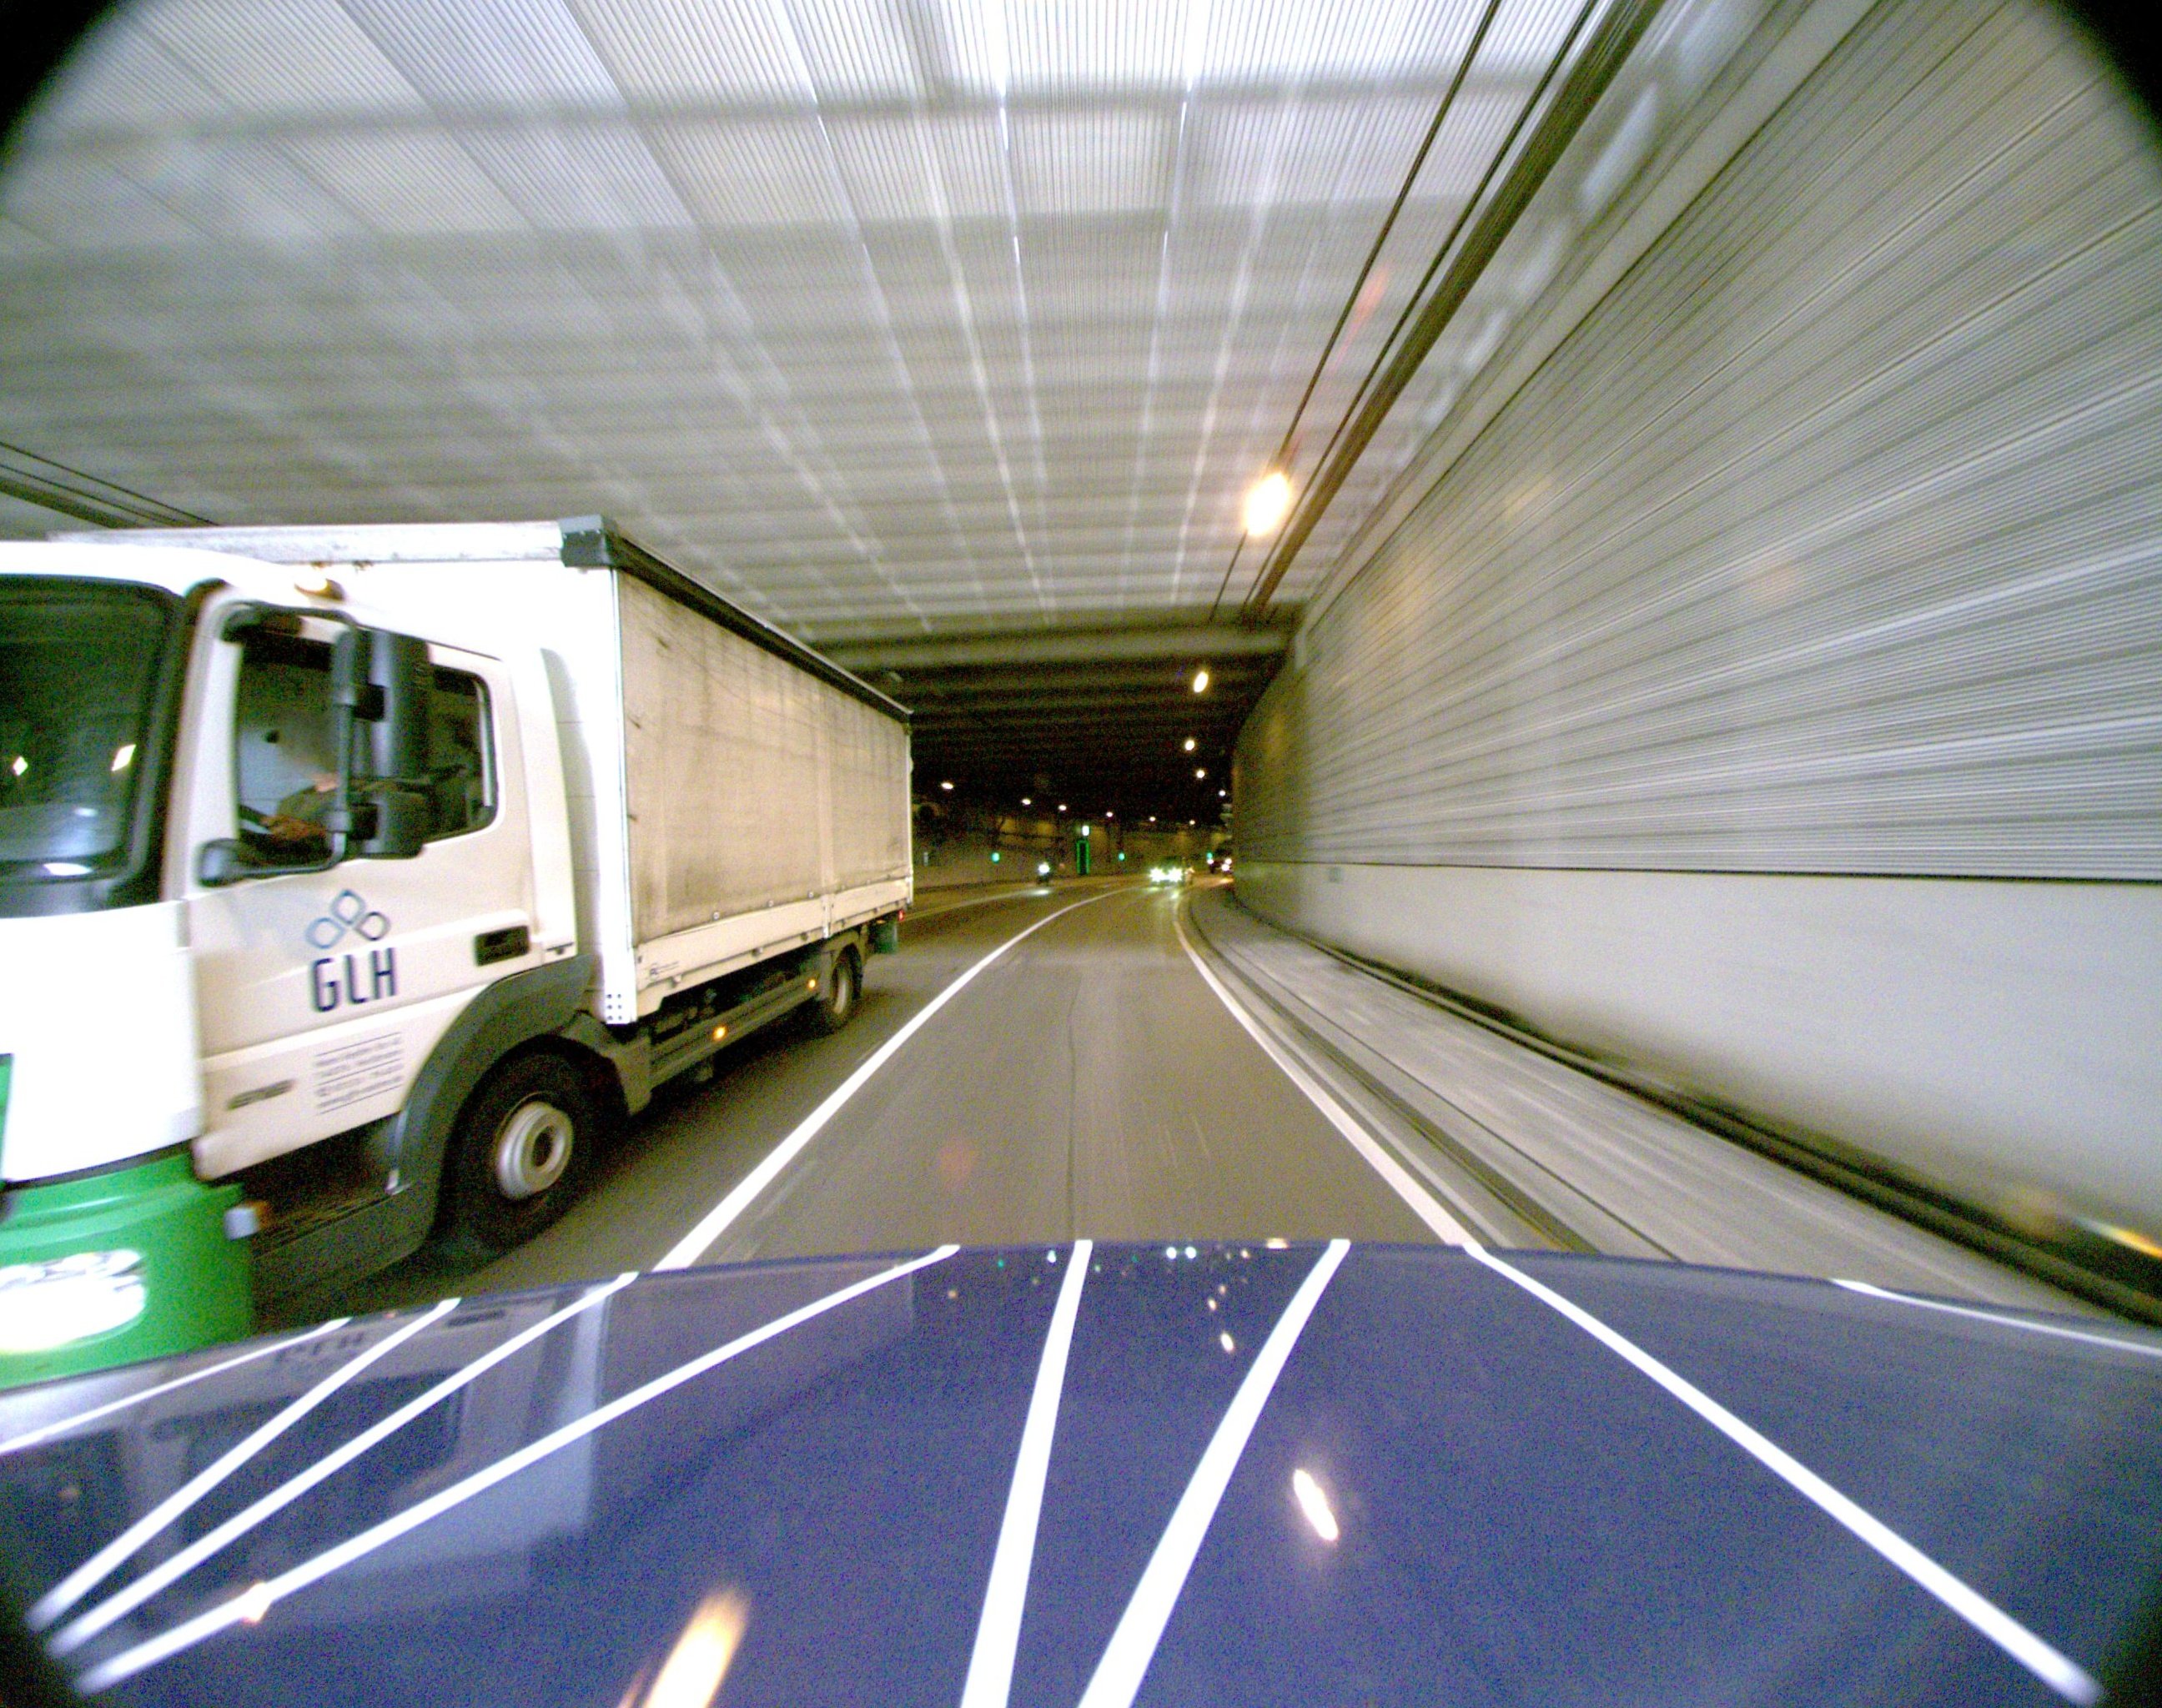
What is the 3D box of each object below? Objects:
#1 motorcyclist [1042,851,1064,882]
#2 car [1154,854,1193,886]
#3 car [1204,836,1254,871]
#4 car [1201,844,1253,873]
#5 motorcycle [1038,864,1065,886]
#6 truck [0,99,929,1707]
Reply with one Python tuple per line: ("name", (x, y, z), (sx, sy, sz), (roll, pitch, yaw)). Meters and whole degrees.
("motorcyclist", (-1.379, 0.600, 37.531), (0.745, 1.482, 0.788), (-3, 1, 23))
("car", (4.706, 0.775, 38.333), (1.720, 1.455, 4.003), (-1, 0, 10))
("car", (12.781, -0.066, 65.246), (2.555, 2.752, 7.363), (-1, 0, 24))
("car", (10.897, 0.285, 56.258), (2.371, 1.914, 5.207), (-2, 0, 27))
("motorcycle", (-1.432, 1.009, 37.461), (0.549, 0.970, 1.838), (-3, 0, 24))
("truck", (-3.274, 0.130, 5.210), (2.636, 3.220, 7.416), (-1, 0, 2))
